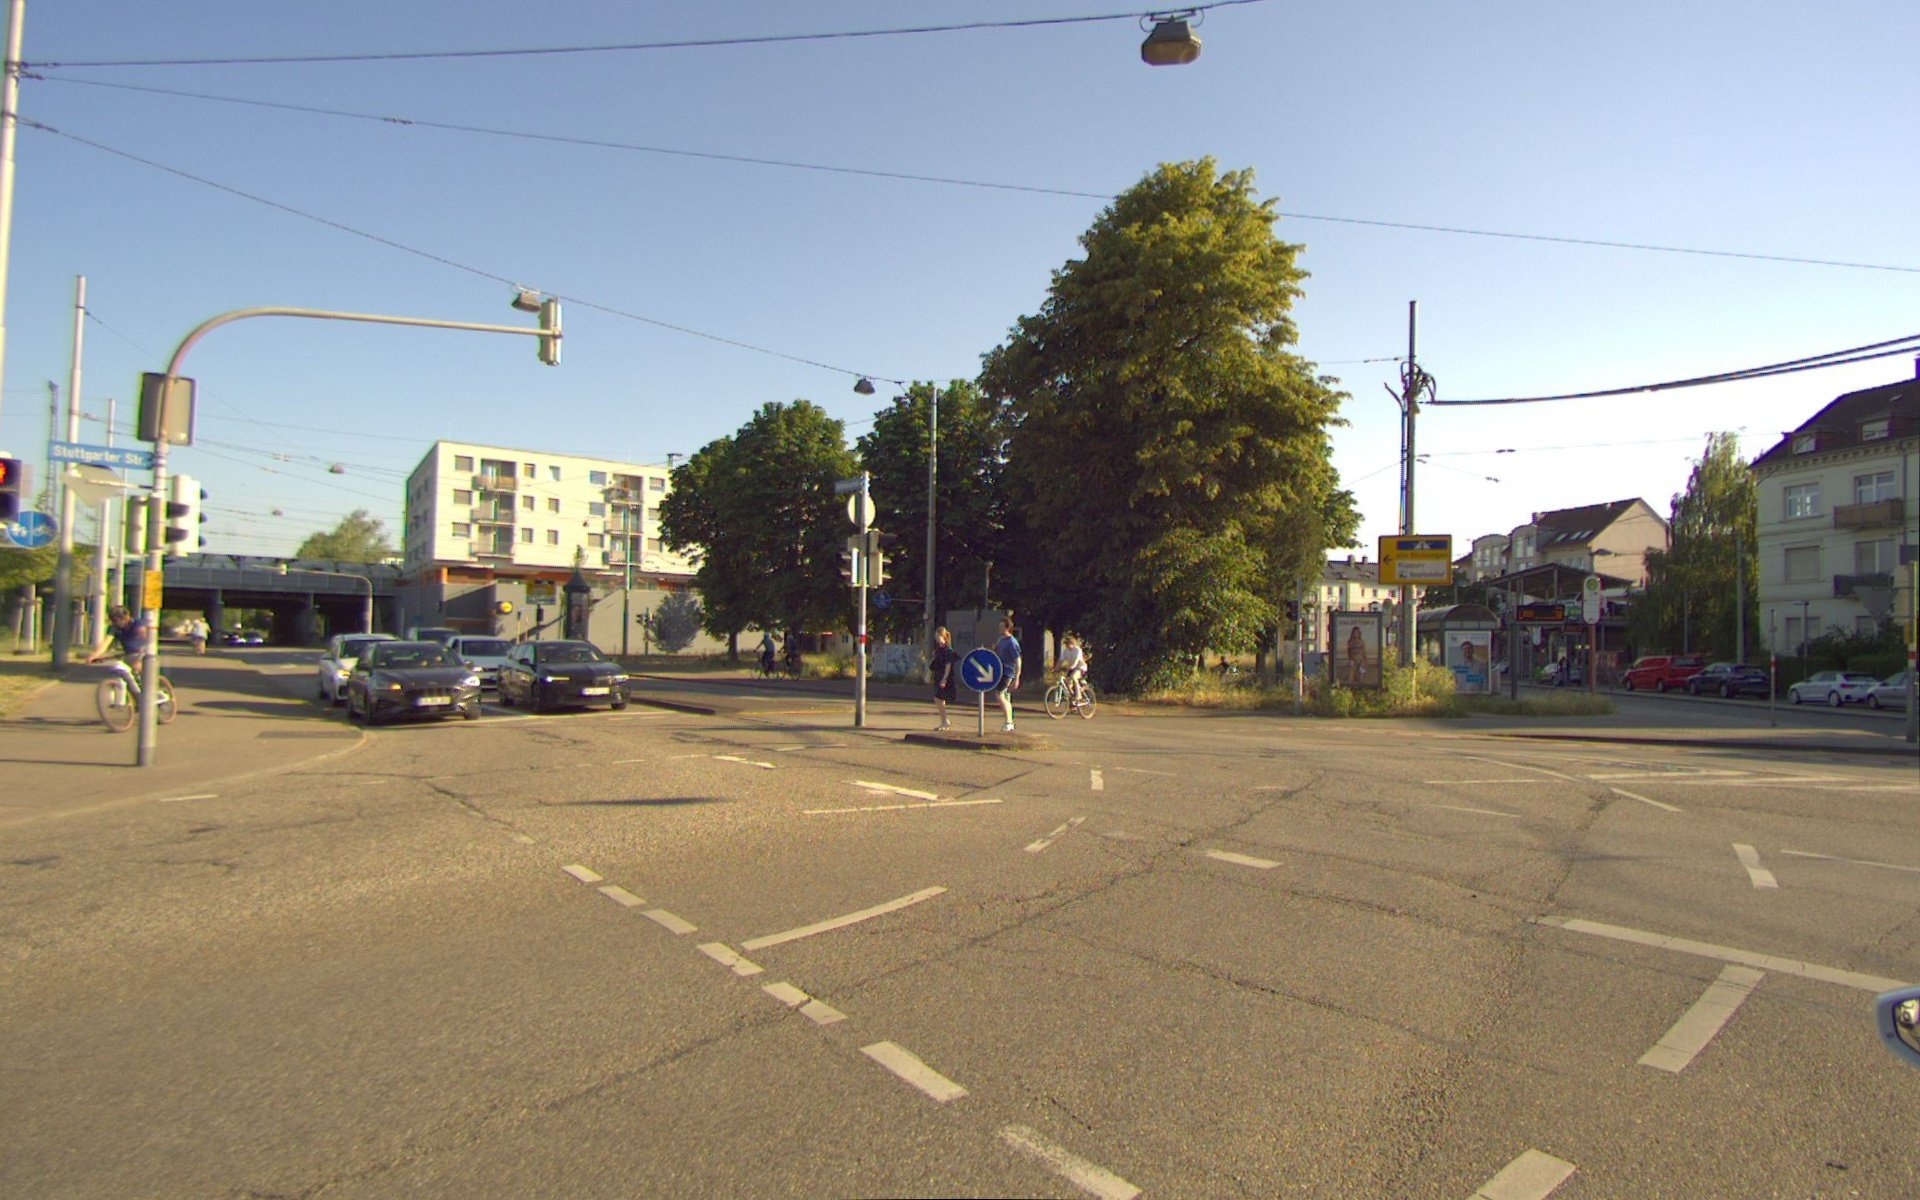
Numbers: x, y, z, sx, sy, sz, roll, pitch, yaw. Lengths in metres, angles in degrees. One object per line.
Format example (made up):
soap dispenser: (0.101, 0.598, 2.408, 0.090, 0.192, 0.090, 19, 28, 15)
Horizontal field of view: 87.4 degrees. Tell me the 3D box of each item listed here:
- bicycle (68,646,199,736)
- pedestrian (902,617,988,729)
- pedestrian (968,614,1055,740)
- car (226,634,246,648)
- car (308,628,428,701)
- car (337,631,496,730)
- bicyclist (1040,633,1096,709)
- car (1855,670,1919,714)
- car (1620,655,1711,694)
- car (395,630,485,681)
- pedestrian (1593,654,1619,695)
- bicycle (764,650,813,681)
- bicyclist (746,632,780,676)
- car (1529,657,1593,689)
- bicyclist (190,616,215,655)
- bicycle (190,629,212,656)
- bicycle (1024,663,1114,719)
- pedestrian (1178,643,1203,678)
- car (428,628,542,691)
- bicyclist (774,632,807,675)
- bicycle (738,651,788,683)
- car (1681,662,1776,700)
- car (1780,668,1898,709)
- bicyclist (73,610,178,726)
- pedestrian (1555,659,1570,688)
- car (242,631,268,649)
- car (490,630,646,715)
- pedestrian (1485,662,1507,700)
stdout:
bicycle: (-11.774, 1.255, 14.410, 0.782, 1.164, 2.280, 2, -3, -23)
pedestrian: (-0.248, 1.180, 16.526, 1.059, 1.770, 0.904, 3, -3, -40)
pedestrian: (0.838, 1.235, 16.349, 1.059, 1.950, 0.904, 3, -3, -40)
car: (-94.660, 5.347, 131.300, 1.981, 1.726, 3.959, 3, -3, -36)
car: (-14.277, 1.486, 24.124, 1.982, 1.587, 4.230, 3, -3, -37)
car: (-10.166, 1.399, 18.643, 1.982, 1.587, 4.230, 2, -2, -37)
bicyclist: (2.417, 1.570, 22.358, 1.033, 1.650, 0.705, 3, -3, -40)
car: (34.947, 3.322, 36.463, 1.947, 1.466, 3.722, -1, -3, 10)
car: (38.486, 4.048, 54.960, 2.015, 1.987, 5.156, -1, -3, 10)
car: (-17.695, 1.844, 34.108, 1.982, 1.587, 4.410, 3, -3, -37)
pedestrian: (32.918, 3.804, 51.193, 0.905, 2.040, 0.769, 1, -3, 15)
bicycle: (-6.377, 2.417, 37.289, 1.989, 1.083, 0.660, -1, -3, 40)
bicyclist: (-7.068, 1.936, 36.045, 1.022, 1.552, 0.695, -1, -3, 41)
car: (41.234, 4.982, 69.011, 2.015, 1.987, 5.156, -1, -3, 10)
bicyclist: (-32.171, 1.505, 42.635, 0.770, 1.626, 0.848, 3, -3, -38)
bicycle: (-32.234, 1.800, 42.658, 0.658, 1.083, 1.997, 3, -3, -38)
bicycle: (2.441, 2.002, 22.338, 2.185, 1.157, 0.692, 4, -3, -42)
pedestrian: (10.157, 2.664, 44.249, 0.661, 1.512, 0.845, 3, -3, -23)
car: (-13.209, 1.597, 27.776, 1.982, 1.587, 4.410, 3, -3, -37)
bicyclist: (-6.292, 1.984, 37.227, 1.022, 1.552, 0.658, -1, -3, 41)
bicycle: (-7.100, 2.400, 36.121, 1.989, 1.083, 0.660, -1, -3, 41)
car: (37.100, 3.896, 48.648, 1.807, 1.690, 4.374, -1, -3, 10)
car: (35.767, 3.579, 41.006, 1.807, 1.466, 3.962, -1, -3, 10)
bicyclist: (-11.864, 0.959, 14.329, 0.841, 1.567, 1.016, 2, -3, -25)
pedestrian: (32.255, 3.953, 53.788, 0.557, 1.520, 0.678, 0, -3, 23)
car: (-70.575, 3.989, 100.527, 1.982, 1.726, 3.958, 3, -3, -37)
car: (-8.384, 1.457, 21.244, 2.034, 1.587, 4.407, 3, -3, -35)
pedestrian: (21.033, 3.166, 39.410, 0.586, 1.445, 0.506, 1, -2, 3)
